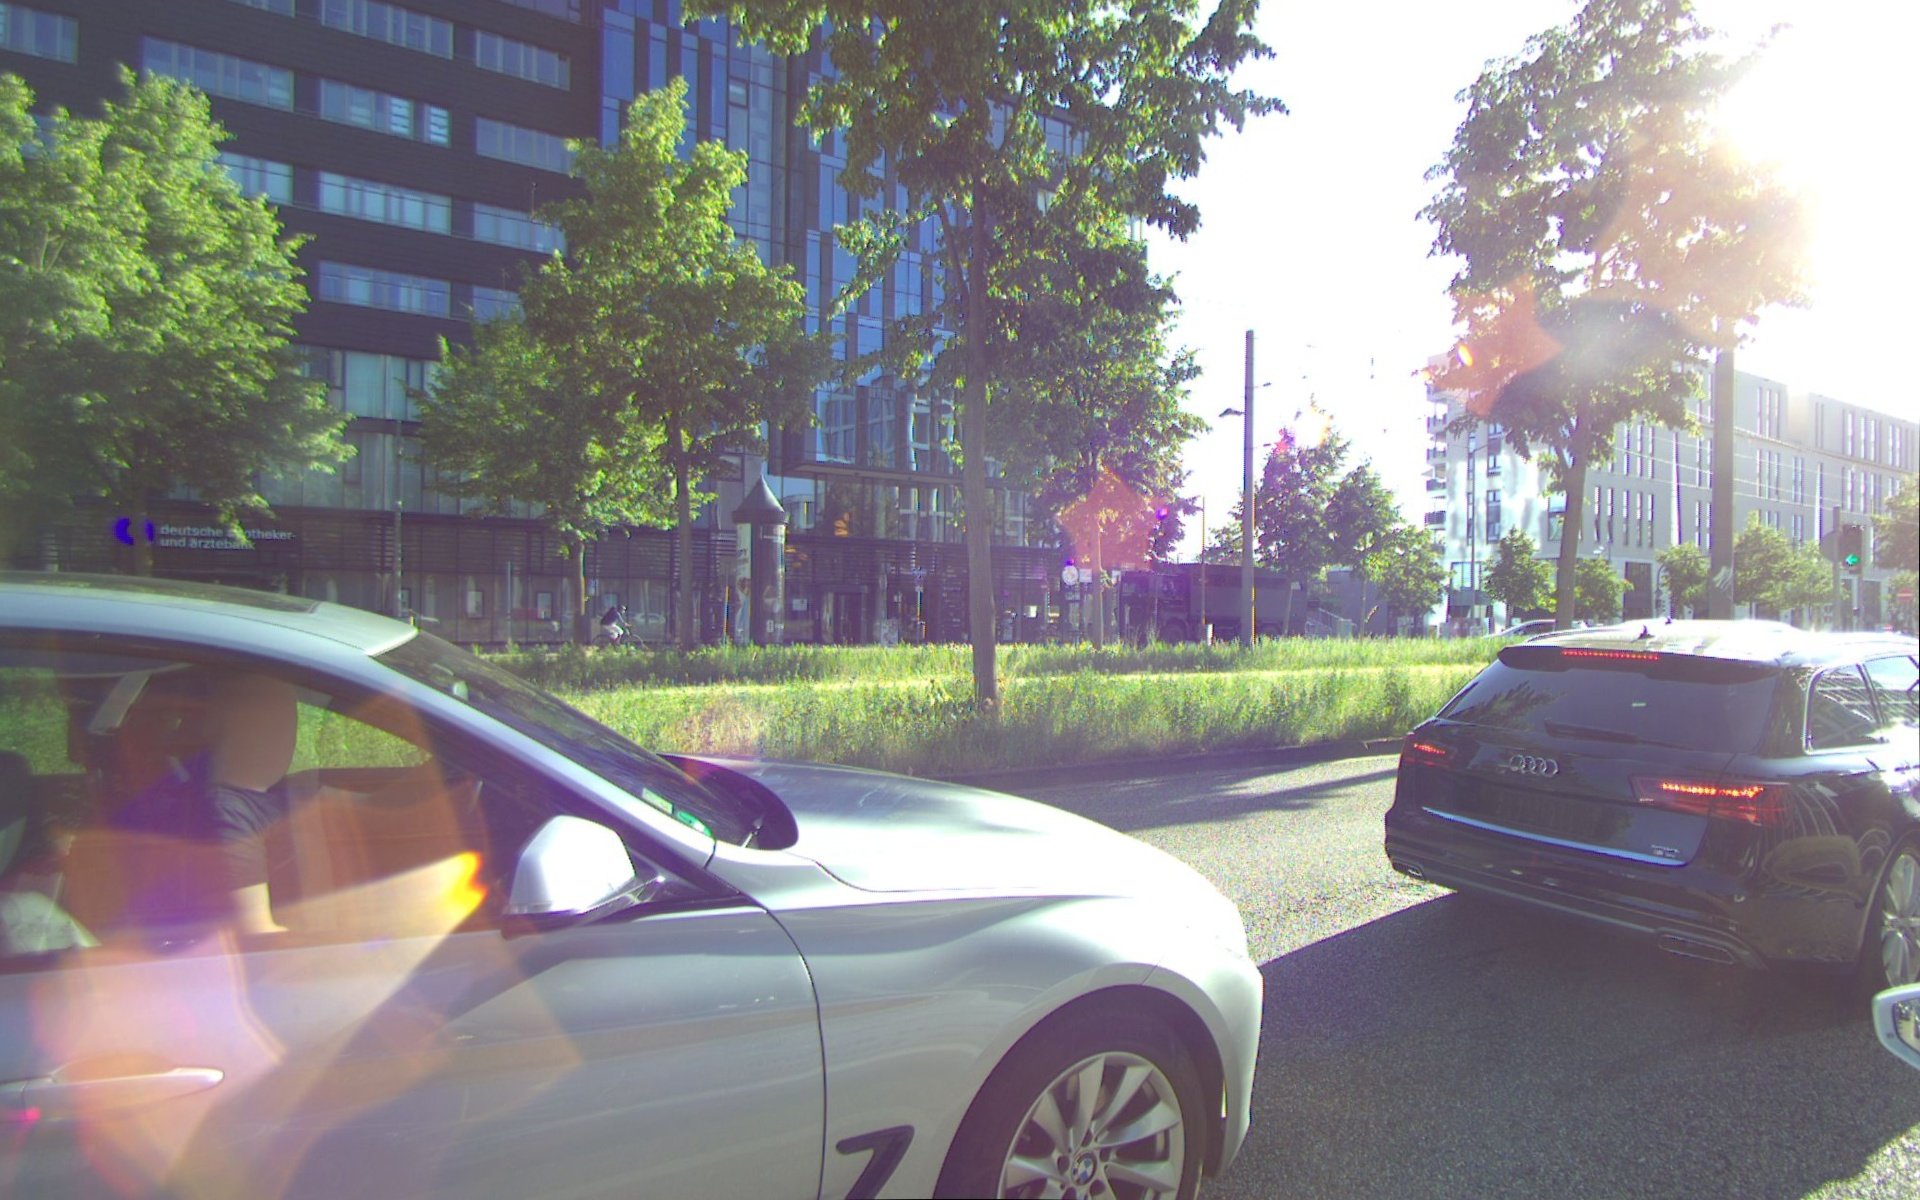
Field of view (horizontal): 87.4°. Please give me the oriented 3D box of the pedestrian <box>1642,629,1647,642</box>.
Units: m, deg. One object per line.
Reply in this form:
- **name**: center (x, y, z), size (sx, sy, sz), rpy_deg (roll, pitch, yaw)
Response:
- **pedestrian**: center (56.166, 2.926, 82.400), size (0.286, 1.100, 0.252), rpy_deg (1, 0, -30)

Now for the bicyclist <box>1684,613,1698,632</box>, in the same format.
- **bicyclist**: center (58.599, 1.800, 80.557), size (0.706, 1.549, 0.674), rpy_deg (1, 0, -30)

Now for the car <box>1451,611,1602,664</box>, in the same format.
- **car**: center (20.248, 1.314, 36.145), size (4.481, 1.503, 1.804), rpy_deg (4, 2, 23)

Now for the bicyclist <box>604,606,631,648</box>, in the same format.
- **bicyclist**: center (-12.010, 0.953, 35.230), size (0.811, 1.443, 0.475), rpy_deg (1, -1, -30)

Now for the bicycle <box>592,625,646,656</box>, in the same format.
- **bicycle**: center (-11.967, 1.414, 35.250), size (1.735, 1.049, 0.475), rpy_deg (1, -1, -31)

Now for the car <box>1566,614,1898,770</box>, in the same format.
- **car**: center (8.909, 0.949, 11.511), size (4.164, 1.512, 1.508), rpy_deg (1, -1, -29)

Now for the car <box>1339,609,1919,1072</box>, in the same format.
- **car**: center (4.413, 0.838, 5.371), size (4.911, 1.504, 1.864), rpy_deg (1, -1, -32)

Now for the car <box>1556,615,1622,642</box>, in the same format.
- **car**: center (37.525, 1.691, 59.904), size (3.953, 1.540, 1.756), rpy_deg (1, -1, -30)

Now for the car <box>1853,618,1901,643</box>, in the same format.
- **car**: center (78.089, 2.600, 85.529), size (3.953, 2.040, 1.984), rpy_deg (1, -1, -30)

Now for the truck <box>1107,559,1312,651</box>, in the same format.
- **truck**: center (11.691, 0.305, 46.496), size (10.094, 3.904, 2.877), rpy_deg (1, -1, -31)

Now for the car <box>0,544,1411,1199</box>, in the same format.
- **car**: center (-1.300, 0.700, 2.027), size (4.509, 1.504, 1.810), rpy_deg (1, -1, -31)

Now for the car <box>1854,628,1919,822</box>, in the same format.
- **car**: center (9.342, 0.987, 8.201), size (4.288, 1.445, 1.833), rpy_deg (1, -1, -30)

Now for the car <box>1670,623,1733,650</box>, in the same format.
- **car**: center (51.463, 2.519, 69.680), size (4.319, 1.838, 1.984), rpy_deg (1, -1, -30)

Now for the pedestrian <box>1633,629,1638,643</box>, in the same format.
- **pedestrian**: center (55.945, 2.971, 83.183), size (0.257, 1.100, 0.252), rpy_deg (1, 0, -30)

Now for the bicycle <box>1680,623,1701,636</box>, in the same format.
- **bicycle**: center (58.609, 2.395, 80.564), size (1.933, 1.001, 0.673), rpy_deg (1, -1, -31)
